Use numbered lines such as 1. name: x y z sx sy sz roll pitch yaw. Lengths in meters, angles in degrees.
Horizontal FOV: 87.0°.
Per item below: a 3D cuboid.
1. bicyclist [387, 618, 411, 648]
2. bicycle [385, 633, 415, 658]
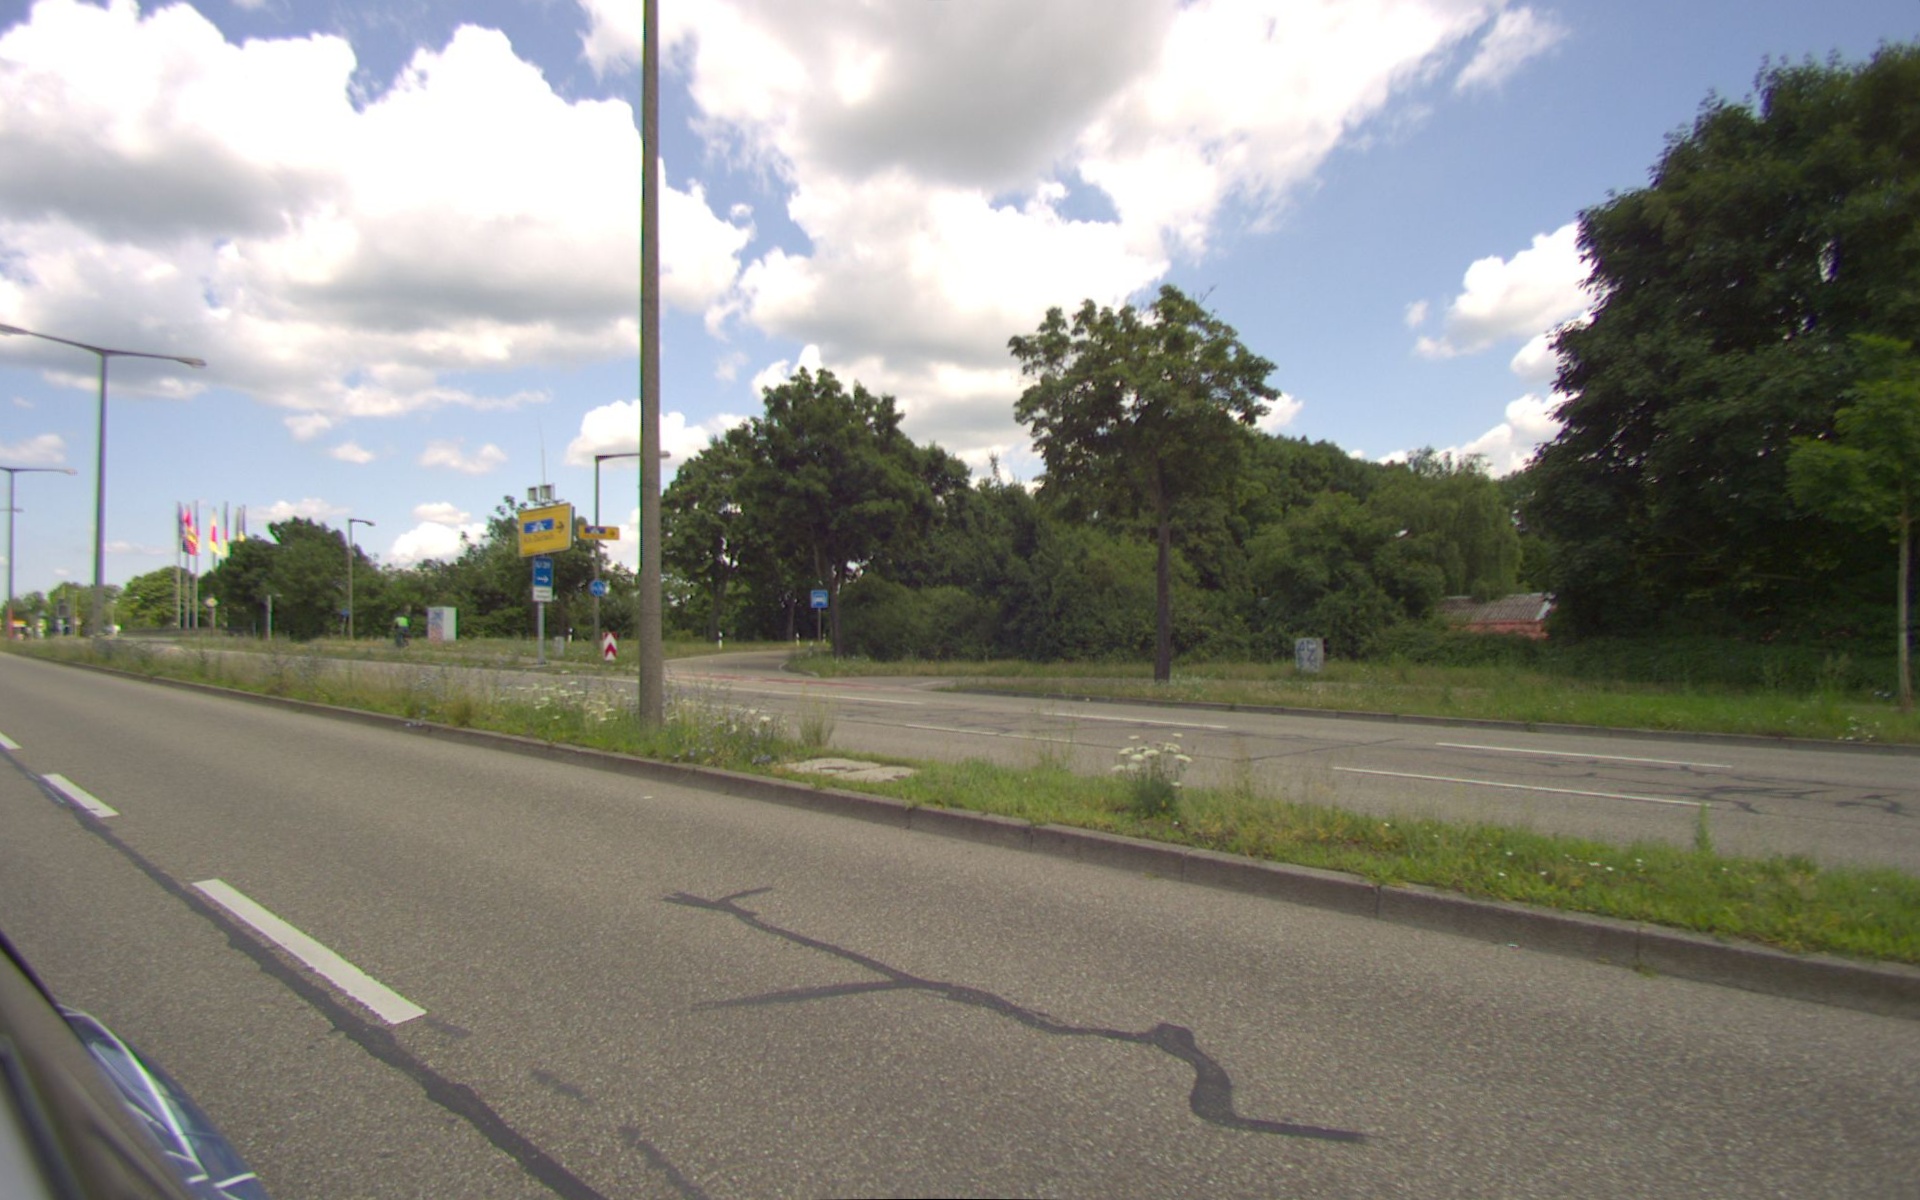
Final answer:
1. bicyclist: -24.654 1.451 44.496 1.106 1.282 0.515 -3 -2 39
2. bicycle: -24.619 2.003 44.478 1.905 1.076 0.427 -3 -2 39
